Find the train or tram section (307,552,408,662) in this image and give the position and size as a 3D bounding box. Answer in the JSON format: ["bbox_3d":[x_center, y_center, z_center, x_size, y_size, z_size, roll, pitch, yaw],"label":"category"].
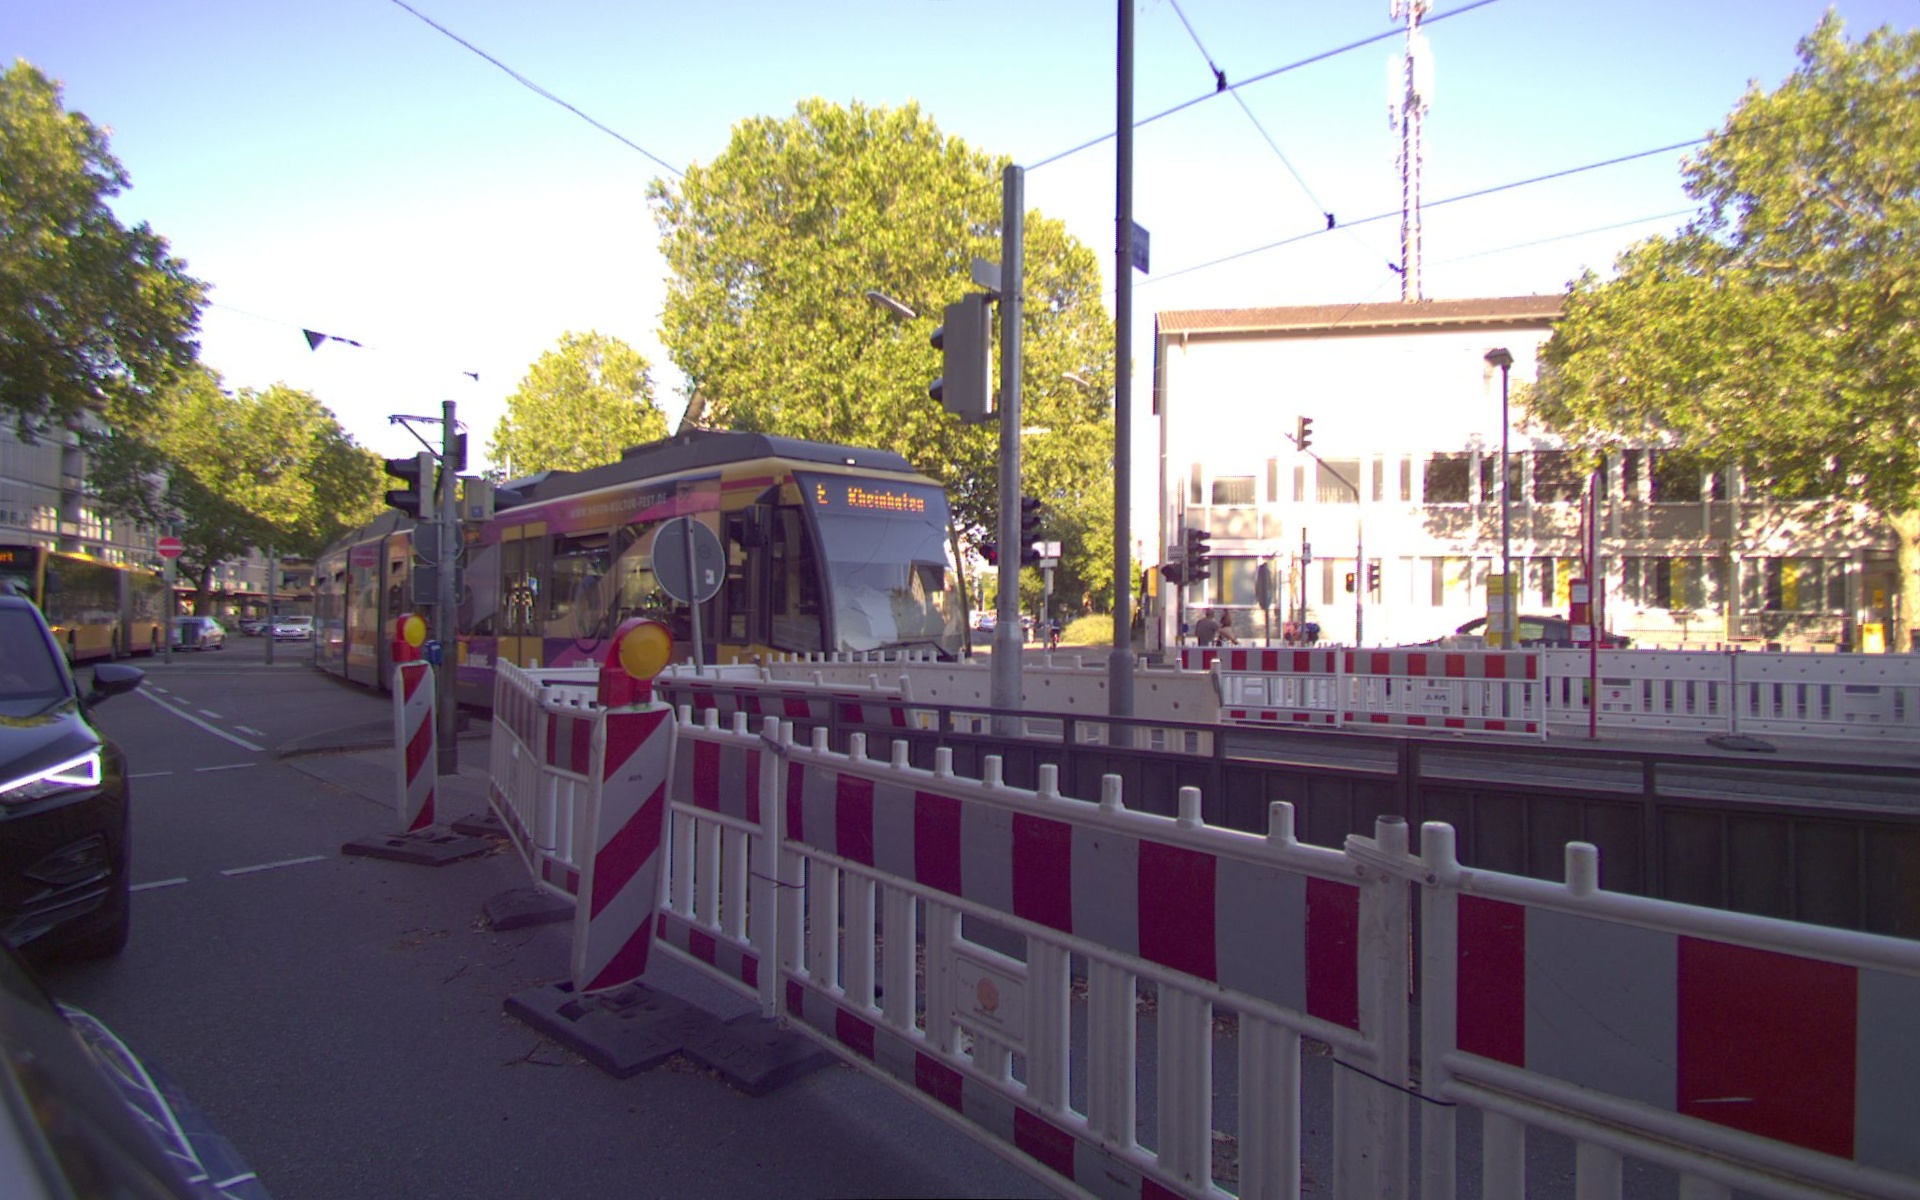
[{"bbox_3d":[-22.235,0.313,37.496,2.796,3.514,10.369,1,-1,-30],"label":"train or tram section"}]

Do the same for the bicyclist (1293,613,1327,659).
[{"bbox_3d":[10.124,1.035,29.265,0.808,1.307,0.457,-1,-2,39],"label":"bicyclist"}]

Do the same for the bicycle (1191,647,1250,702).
[{"bbox_3d":[5.020,1.416,19.478,1.558,0.973,0.322,1,-2,-44],"label":"bicycle"}]

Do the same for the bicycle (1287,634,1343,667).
[{"bbox_3d":[10.220,1.443,29.180,1.464,0.902,0.457,-1,-2,39],"label":"bicycle"}]

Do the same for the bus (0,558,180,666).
[{"bbox_3d":[-28.706,0.446,33.871,2.708,3.127,9.526,1,-2,-29],"label":"bus"}]

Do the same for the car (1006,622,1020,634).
[{"bbox_3d":[7.071,3.698,134.383,1.705,1.505,3.994,0,-2,4],"label":"car"}]

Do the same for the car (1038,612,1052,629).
[{"bbox_3d":[11.314,2.727,135.642,1.828,2.160,3.994,0,-1,4],"label":"car"}]

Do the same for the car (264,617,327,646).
[{"bbox_3d":[-38.518,1.789,58.795,1.923,1.562,4.771,1,-1,-19],"label":"car"}]

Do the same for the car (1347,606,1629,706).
[{"bbox_3d":[10.028,0.983,19.364,4.576,1.679,1.878,-1,0,35],"label":"car"}]

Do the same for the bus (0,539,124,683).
[{"bbox_3d":[-23.802,0.301,25.736,2.708,3.127,9.523,1,-2,-32],"label":"bus"}]

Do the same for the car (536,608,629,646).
[{"bbox_3d":[-17.882,1.248,47.901,4.576,1.679,1.878,-1,0,35],"label":"car"}]

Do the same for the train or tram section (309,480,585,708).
[{"bbox_3d":[-10.823,-0.014,20.519,2.799,3.514,10.356,1,-1,-39],"label":"train or tram section"}]

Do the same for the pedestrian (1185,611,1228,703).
[{"bbox_3d":[4.873,1.114,19.980,0.588,1.772,0.597,1,-2,-43],"label":"pedestrian"}]

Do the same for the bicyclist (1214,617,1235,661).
[{"bbox_3d":[8.584,1.250,32.808,0.455,1.407,0.466,1,-2,-29],"label":"bicyclist"}]

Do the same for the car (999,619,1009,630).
[{"bbox_3d":[8.502,4.752,194.734,1.828,2.031,3.994,0,-1,4],"label":"car"}]

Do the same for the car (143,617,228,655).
[{"bbox_3d":[-32.965,1.498,43.212,1.880,1.486,4.433,1,-1,-24],"label":"car"}]

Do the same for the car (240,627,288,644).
[{"bbox_3d":[-50.894,2.572,74.023,1.198,1.226,2.599,0,-1,34],"label":"car"}]

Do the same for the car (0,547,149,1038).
[{"bbox_3d":[-5.161,0.688,4.594,4.300,1.670,1.823,-1,-1,45],"label":"car"}]

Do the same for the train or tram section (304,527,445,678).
[{"bbox_3d":[-16.826,0.154,28.676,2.832,3.514,10.366,1,-1,-33],"label":"train or tram section"}]

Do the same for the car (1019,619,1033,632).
[{"bbox_3d":[7.886,3.018,120.460,1.705,1.505,3.994,0,-1,4],"label":"car"}]

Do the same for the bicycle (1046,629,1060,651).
[{"bbox_3d":[4.279,1.829,46.502,0.405,0.974,1.463,0,-1,-4],"label":"bicycle"}]

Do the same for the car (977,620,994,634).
[{"bbox_3d":[2.904,3.076,115.241,1.705,1.505,3.994,0,-1,4],"label":"car"}]

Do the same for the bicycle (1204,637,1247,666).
[{"bbox_3d":[8.582,1.668,32.801,0.455,0.902,1.470,1,-2,-29],"label":"bicycle"}]

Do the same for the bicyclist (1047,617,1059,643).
[{"bbox_3d":[4.275,1.369,46.515,0.406,1.182,0.663,0,-1,-4],"label":"bicyclist"}]

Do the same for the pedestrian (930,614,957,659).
[{"bbox_3d":[-0.676,1.473,40.968,0.801,1.769,0.787,-1,-2,41],"label":"pedestrian"}]

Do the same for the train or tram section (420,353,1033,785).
[{"bbox_3d":[-3.831,-0.178,12.960,2.783,3.514,10.347,1,-1,-44],"label":"train or tram section"}]
